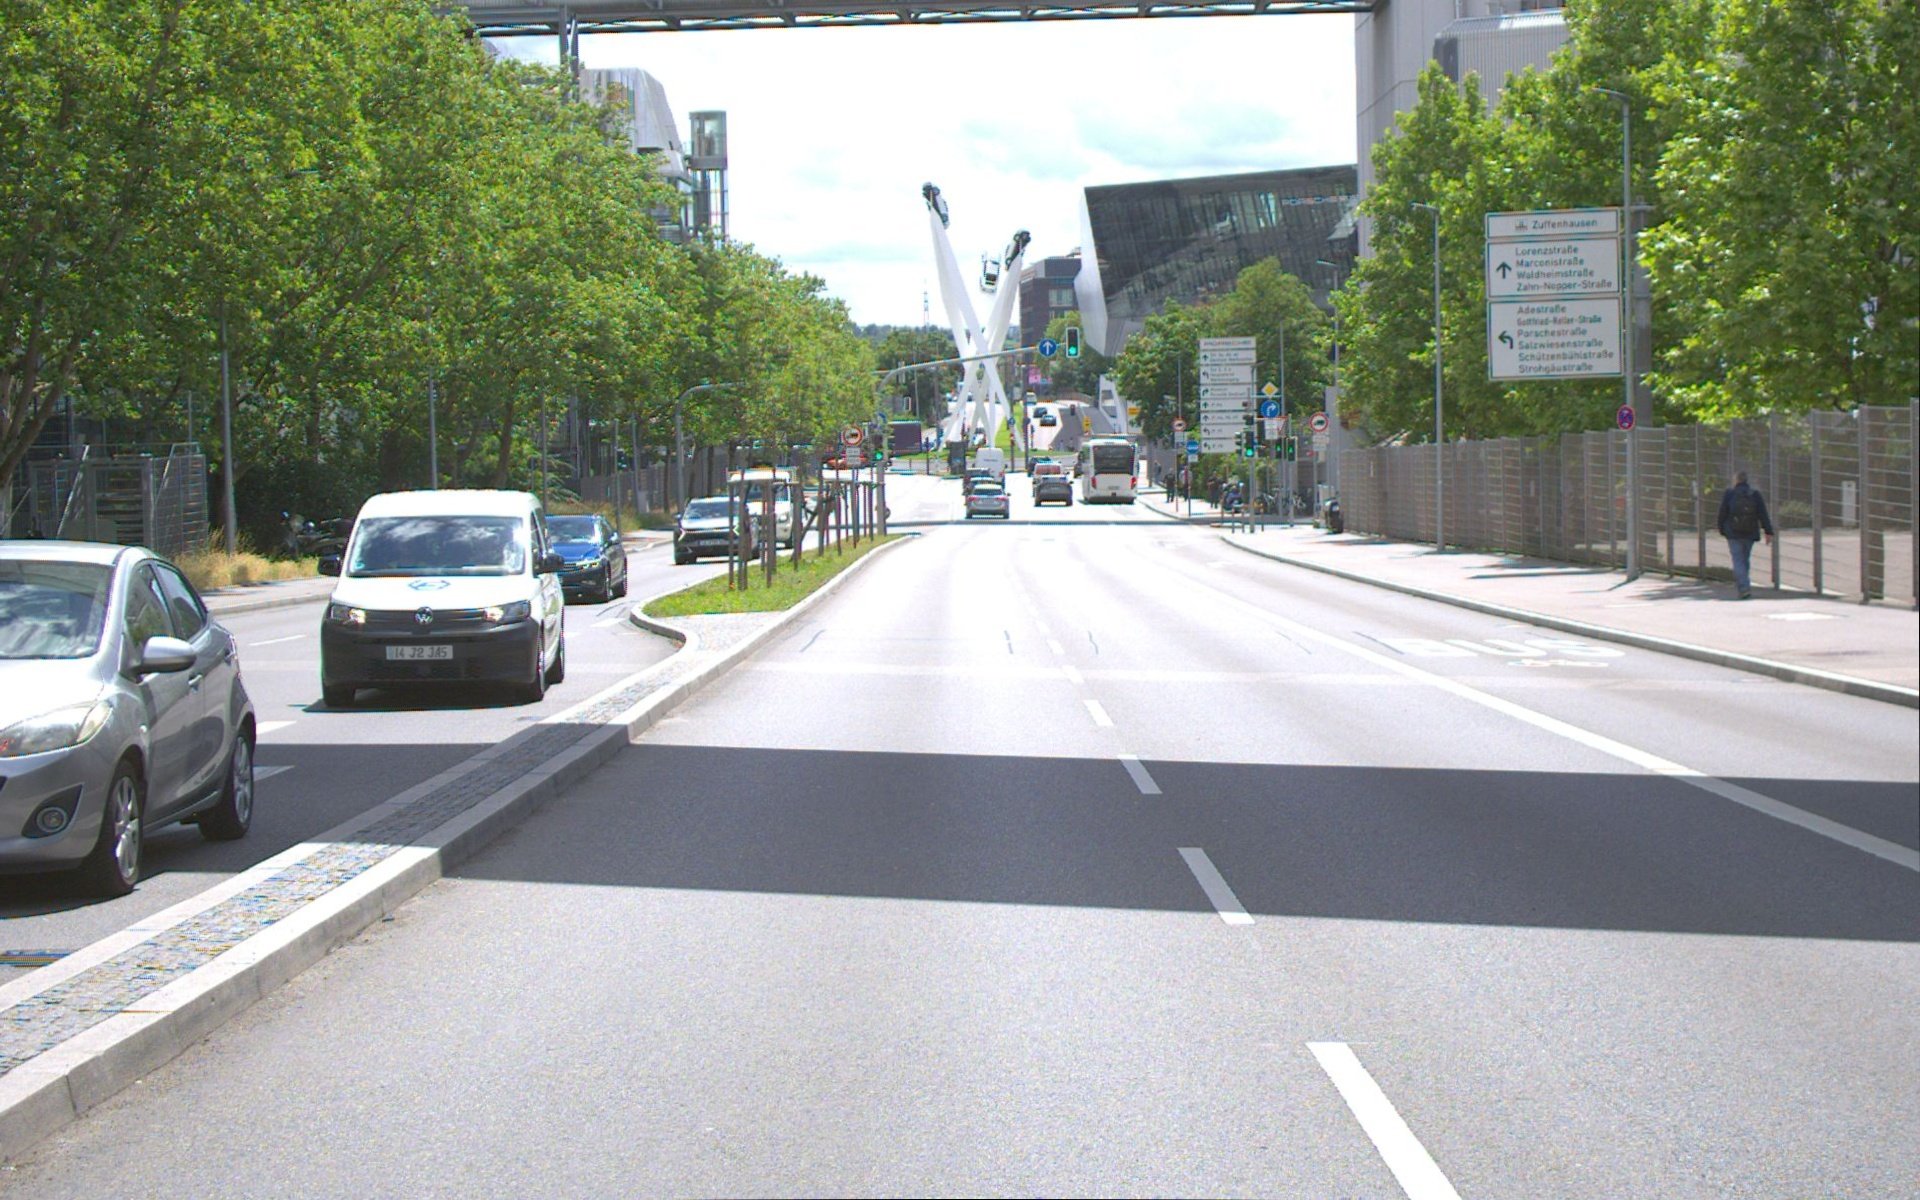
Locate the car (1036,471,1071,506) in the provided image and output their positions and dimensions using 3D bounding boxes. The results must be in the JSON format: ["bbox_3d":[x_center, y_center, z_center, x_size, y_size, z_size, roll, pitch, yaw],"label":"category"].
[{"bbox_3d":[4.728,-5.623,173.782,1.738,1.735,3.691,0,2,2],"label":"car"}]

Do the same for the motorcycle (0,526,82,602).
[{"bbox_3d":[-15.561,-0.608,56.815,1.878,1.182,0.729,2,2,9],"label":"motorcycle"}]

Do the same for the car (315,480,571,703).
[{"bbox_3d":[-4.428,-0.129,30.070,1.808,1.774,4.979,-1,1,-4],"label":"car"}]

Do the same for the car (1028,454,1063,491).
[{"bbox_3d":[5.018,-7.466,201.368,1.994,2.007,4.000,1,1,2],"label":"car"}]

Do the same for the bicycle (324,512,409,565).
[{"bbox_3d":[-14.377,-1.489,83.261,1.918,1.278,0.806,0,1,-1],"label":"bicycle"}]

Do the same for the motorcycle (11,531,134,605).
[{"bbox_3d":[-15.091,-0.547,58.484,1.879,1.169,0.745,2,3,10],"label":"motorcycle"}]

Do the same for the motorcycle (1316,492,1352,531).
[{"bbox_3d":[11.213,-2.659,103.110,0.692,1.154,2.148,-2,2,-3],"label":"motorcycle"}]

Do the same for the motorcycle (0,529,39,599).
[{"bbox_3d":[-15.904,-0.601,55.424,1.879,1.081,0.793,2,3,16],"label":"motorcycle"}]

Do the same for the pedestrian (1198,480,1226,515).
[{"bbox_3d":[11.618,-4.717,158.429,0.849,1.619,0.954,1,2,43],"label":"pedestrian"}]

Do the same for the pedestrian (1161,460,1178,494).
[{"bbox_3d":[10.654,-6.265,174.995,0.820,1.701,0.881,0,2,2],"label":"pedestrian"}]

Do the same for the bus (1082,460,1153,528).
[{"bbox_3d":[8.438,-5.708,185.429,3.452,3.531,10.607,0,2,1],"label":"bus"}]

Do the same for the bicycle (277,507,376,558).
[{"bbox_3d":[-14.601,-1.563,79.244,2.133,1.176,0.806,0,1,-1],"label":"bicycle"}]

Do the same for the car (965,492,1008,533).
[{"bbox_3d":[1.136,-3.719,146.277,1.738,1.735,3.691,0,2,2],"label":"car"}]

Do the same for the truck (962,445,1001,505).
[{"bbox_3d":[1.443,-8.163,224.674,2.392,3.884,6.177,0,2,2],"label":"truck"}]

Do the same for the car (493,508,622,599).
[{"bbox_3d":[-6.716,-0.809,57.705,1.709,1.448,4.480,0,2,-1],"label":"car"}]

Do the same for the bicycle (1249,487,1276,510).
[{"bbox_3d":[12.635,-4.230,143.566,0.397,0.933,1.929,-1,2,-17],"label":"bicycle"}]

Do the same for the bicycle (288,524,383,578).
[{"bbox_3d":[-14.958,-1.183,82.355,2.133,1.278,0.806,0,1,-1],"label":"bicycle"}]

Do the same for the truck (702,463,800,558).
[{"bbox_3d":[-6.259,-2.718,103.776,2.479,2.741,6.459,-1,2,0],"label":"truck"}]

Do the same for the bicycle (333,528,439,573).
[{"bbox_3d":[-14.725,-1.279,88.210,2.566,1.092,0.695,-1,1,11],"label":"bicycle"}]

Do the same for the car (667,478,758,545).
[{"bbox_3d":[-6.122,-2.209,85.444,1.905,1.625,4.293,0,2,0],"label":"car"}]

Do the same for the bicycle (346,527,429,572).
[{"bbox_3d":[-14.220,-1.262,85.440,1.918,1.118,0.806,0,1,-1],"label":"bicycle"}]

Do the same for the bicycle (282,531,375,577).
[{"bbox_3d":[-14.770,-1.076,80.478,2.080,1.059,0.497,0,1,-1],"label":"bicycle"}]

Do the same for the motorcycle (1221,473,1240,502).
[{"bbox_3d":[11.581,-4.838,147.202,0.706,1.199,2.024,-2,2,2],"label":"motorcycle"}]

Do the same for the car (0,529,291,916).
[{"bbox_3d":[-4.212,0.442,15.229,1.708,1.483,3.984,-1,1,0],"label":"car"}]

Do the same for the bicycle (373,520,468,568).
[{"bbox_3d":[-14.290,-1.484,91.058,2.404,1.253,0.556,0,2,3],"label":"bicycle"}]

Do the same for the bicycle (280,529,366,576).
[{"bbox_3d":[-14.829,-1.103,80.009,1.924,1.071,0.422,0,1,-1],"label":"bicycle"}]

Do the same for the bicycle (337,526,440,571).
[{"bbox_3d":[-14.966,-1.362,90.007,2.566,1.153,0.725,0,2,11],"label":"bicycle"}]

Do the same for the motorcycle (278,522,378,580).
[{"bbox_3d":[-14.360,-1.122,78.149,2.133,1.304,0.806,0,1,-1],"label":"motorcycle"}]

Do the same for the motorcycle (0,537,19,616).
[{"bbox_3d":[-15.346,-0.383,52.198,1.878,1.175,0.815,2,3,10],"label":"motorcycle"}]

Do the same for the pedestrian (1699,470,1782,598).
[{"bbox_3d":[10.877,-0.924,47.959,0.877,1.737,0.941,-3,1,0],"label":"pedestrian"}]
